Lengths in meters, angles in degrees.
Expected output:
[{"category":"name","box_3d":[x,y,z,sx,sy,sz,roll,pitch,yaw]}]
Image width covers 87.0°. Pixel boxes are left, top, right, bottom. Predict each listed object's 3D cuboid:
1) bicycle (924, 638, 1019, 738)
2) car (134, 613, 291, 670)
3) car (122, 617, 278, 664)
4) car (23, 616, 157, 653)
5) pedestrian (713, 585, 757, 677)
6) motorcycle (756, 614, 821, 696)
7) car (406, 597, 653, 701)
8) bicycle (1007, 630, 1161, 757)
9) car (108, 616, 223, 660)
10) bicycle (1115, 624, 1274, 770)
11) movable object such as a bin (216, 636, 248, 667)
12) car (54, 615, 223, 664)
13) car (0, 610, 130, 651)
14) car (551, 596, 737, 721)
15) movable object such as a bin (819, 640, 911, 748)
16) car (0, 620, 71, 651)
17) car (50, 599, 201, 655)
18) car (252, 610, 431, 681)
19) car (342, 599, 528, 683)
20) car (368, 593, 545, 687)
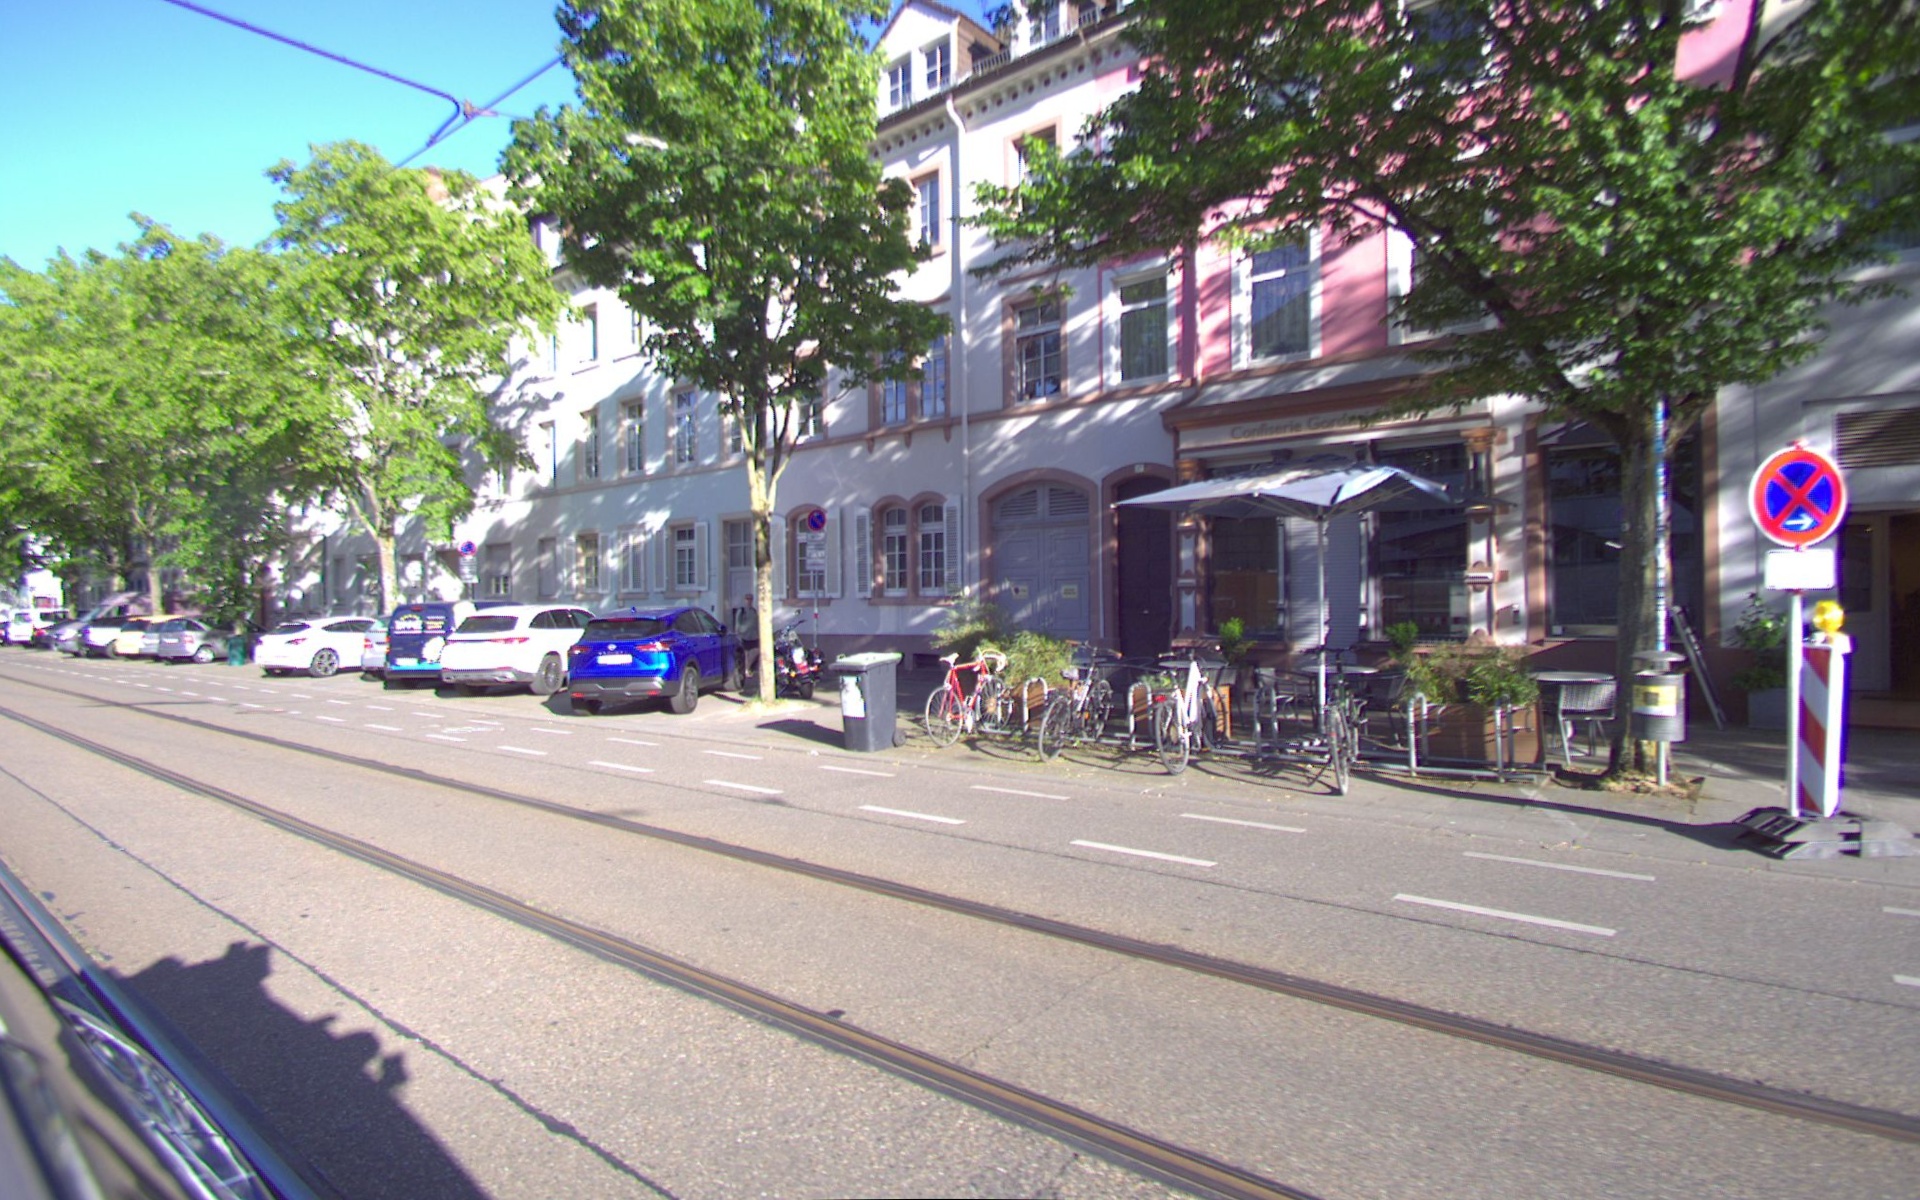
[{"category":"bicycle","box_3d":[0.163,0.994,11.876,0.387,0.995,1.589,-1,1,29]},{"category":"car","box_3d":[-24.855,1.337,33.808,1.689,1.689,3.974,-1,0,20]},{"category":"car","box_3d":[-26.752,1.407,35.791,1.692,1.564,4.138,-1,-2,24]},{"category":"car","box_3d":[-42.879,1.671,49.972,1.950,1.588,4.654,-1,1,35]},{"category":"pedestrian","box_3d":[-4.604,0.627,20.724,0.624,1.852,0.637,-1,-1,41]},{"category":"motorcycle","box_3d":[-2.922,0.881,17.039,0.714,1.263,2.607,1,-2,-18]},{"category":"car","box_3d":[-8.309,0.863,20.161,2.185,1.808,4.923,-1,0,11]},{"category":"bicycle","box_3d":[1.350,0.933,10.677,0.568,1.087,1.947,-1,2,42]},{"category":"car","box_3d":[-29.539,1.375,37.724,1.369,1.565,3.365,0,-1,9]},{"category":"bicycle","box_3d":[2.308,0.867,9.756,0.567,1.095,1.982,-1,4,42]},{"category":"movable object such as a bin","box_3d":[-22.580,1.590,31.390,0.669,0.952,0.615,-1,-2,39]},{"category":"car","box_3d":[-32.037,1.478,39.606,2.160,1.737,4.783,-1,-1,37]},{"category":"car","box_3d":[-46.058,1.530,52.051,2.057,2.029,4.914,-1,-1,16]},{"category":"car","box_3d":[-4.951,0.834,16.418,1.553,1.621,3.899,-3,1,3]},{"category":"movable object such as a bin","box_3d":[-1.055,1.021,11.262,0.709,1.086,0.677,-1,2,41]},{"category":"car","box_3d":[-52.873,1.963,56.998,1.762,1.570,3.988,-1,1,10]},{"category":"car","box_3d":[-34.057,1.037,41.399,2.160,2.134,4.395,-1,0,37]},{"category":"car","box_3d":[-16.068,1.124,26.500,1.872,1.541,3.624,0,2,20]},{"category":"car","box_3d":[-12.396,0.918,24.203,1.791,1.669,3.986,-2,1,12]},{"category":"car","box_3d":[-10.780,0.823,21.934,1.715,1.857,3.434,-1,-1,11]}]
